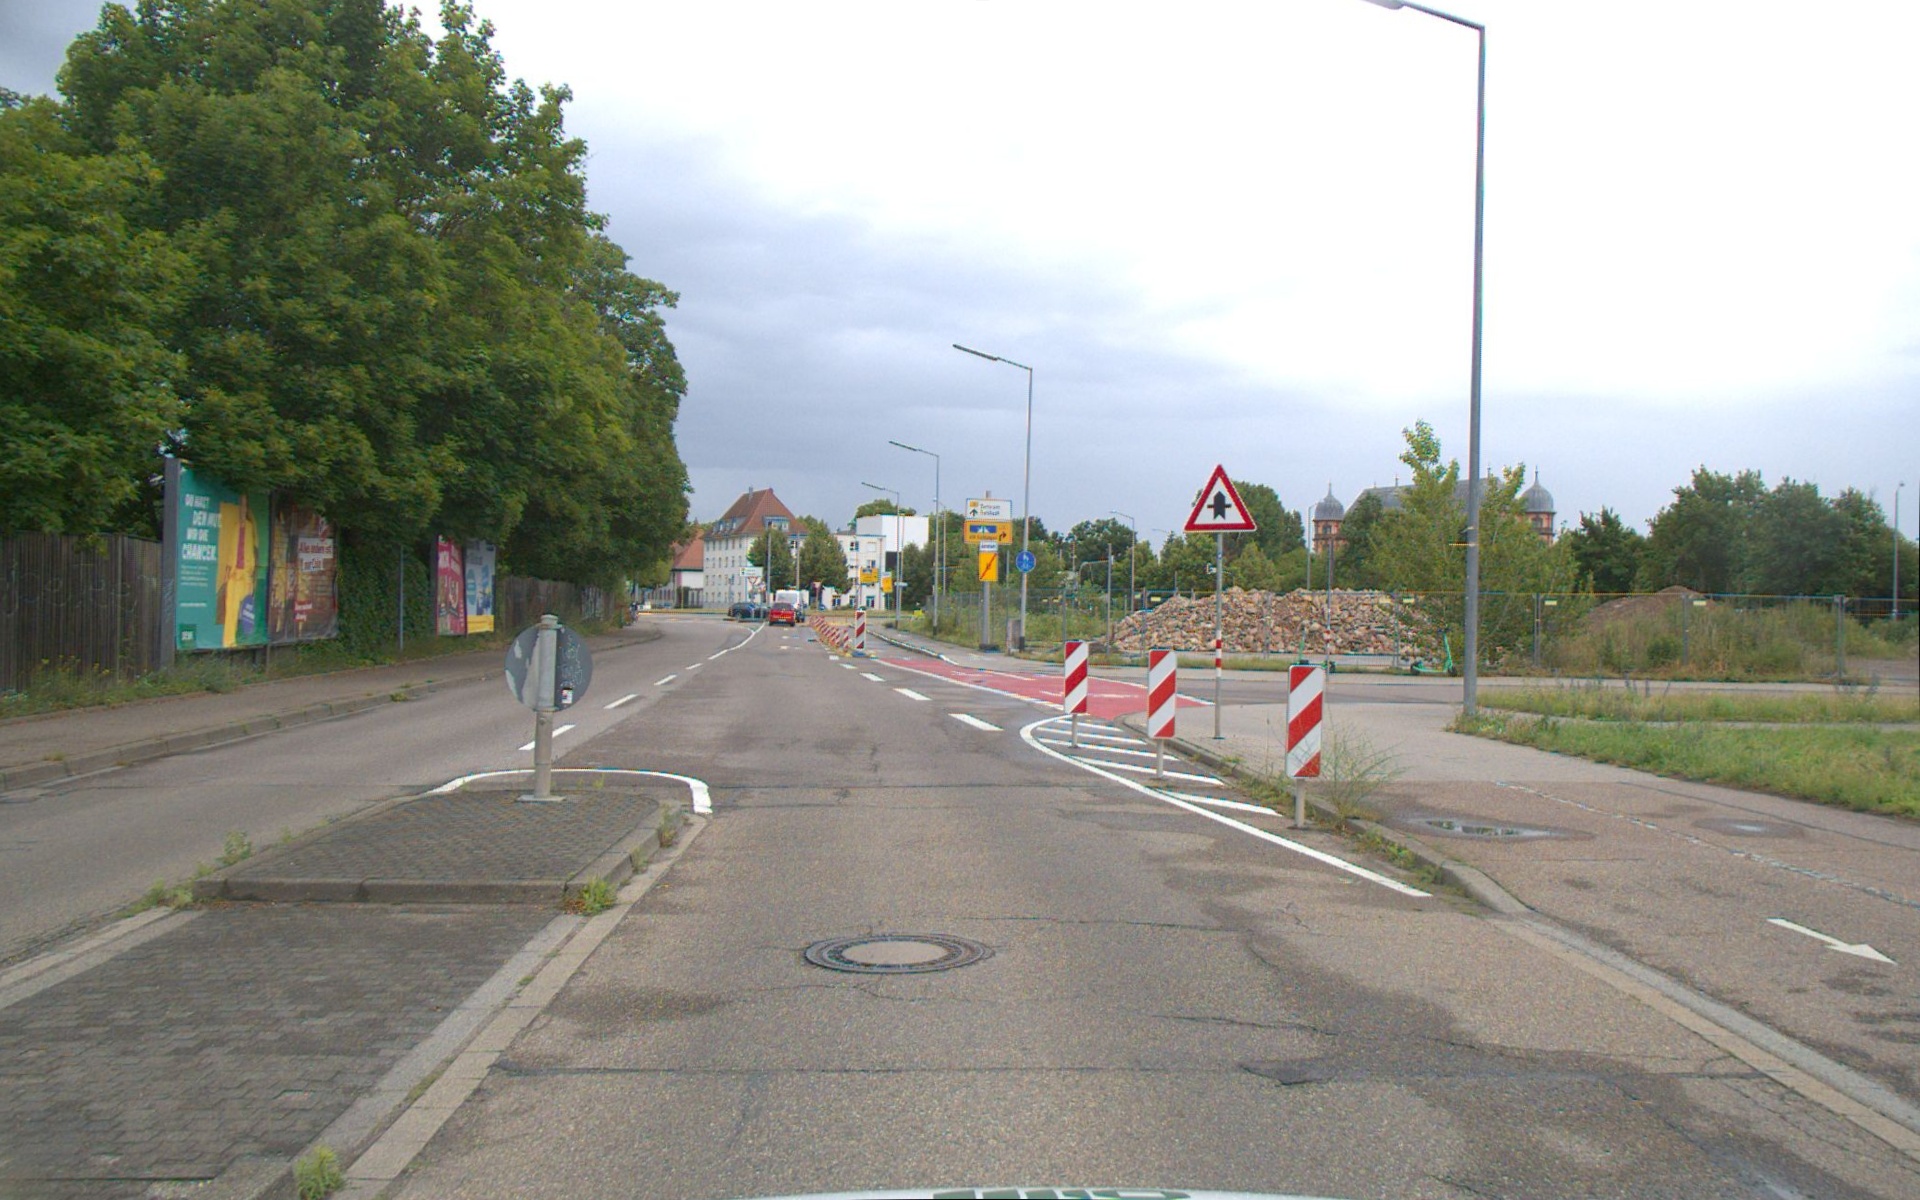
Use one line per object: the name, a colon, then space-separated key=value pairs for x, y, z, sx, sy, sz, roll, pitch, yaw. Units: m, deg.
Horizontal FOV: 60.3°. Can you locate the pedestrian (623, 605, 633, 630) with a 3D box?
pedestrian: x=-21.348 y=1.118 z=106.254 sx=0.601 sy=1.556 sz=0.722 roll=1 pitch=-1 yaw=-10

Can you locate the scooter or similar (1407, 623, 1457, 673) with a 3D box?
scooter or similar: x=11.652 y=1.177 z=40.824 sx=1.145 sy=1.206 sz=0.446 roll=1 pitch=-1 yaw=19

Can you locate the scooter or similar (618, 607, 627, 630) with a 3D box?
scooter or similar: x=-17.596 y=0.952 z=86.314 sx=0.415 sy=1.191 sz=1.300 roll=1 pitch=0 yaw=-11

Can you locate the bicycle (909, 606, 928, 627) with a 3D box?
bicycle: x=-3.281 y=1.299 z=130.295 sx=1.447 sy=1.640 sz=0.606 roll=1 pitch=-1 yaw=-1

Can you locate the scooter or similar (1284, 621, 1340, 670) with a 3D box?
scooter or similar: x=8.868 y=1.143 z=41.653 sx=1.299 sy=1.206 sz=0.444 roll=0 pitch=-1 yaw=35

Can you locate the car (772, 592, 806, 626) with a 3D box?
car: x=-13.784 y=0.748 z=133.565 sx=2.150 sy=2.584 sz=4.962 roll=2 pitch=-1 yaw=0

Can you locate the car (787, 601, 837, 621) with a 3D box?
car: x=-14.005 y=1.027 z=156.429 sx=4.517 sy=1.827 sz=2.107 roll=1 pitch=-1 yaw=37

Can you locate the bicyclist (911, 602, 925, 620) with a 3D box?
bicyclist: x=-3.300 y=0.876 z=130.295 sx=1.040 sy=1.426 sz=0.615 roll=1 pitch=-1 yaw=-1

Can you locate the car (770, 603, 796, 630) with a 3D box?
car: x=-11.796 y=1.095 z=110.146 sx=1.641 sy=1.669 sz=3.622 roll=2 pitch=-1 yaw=-6
